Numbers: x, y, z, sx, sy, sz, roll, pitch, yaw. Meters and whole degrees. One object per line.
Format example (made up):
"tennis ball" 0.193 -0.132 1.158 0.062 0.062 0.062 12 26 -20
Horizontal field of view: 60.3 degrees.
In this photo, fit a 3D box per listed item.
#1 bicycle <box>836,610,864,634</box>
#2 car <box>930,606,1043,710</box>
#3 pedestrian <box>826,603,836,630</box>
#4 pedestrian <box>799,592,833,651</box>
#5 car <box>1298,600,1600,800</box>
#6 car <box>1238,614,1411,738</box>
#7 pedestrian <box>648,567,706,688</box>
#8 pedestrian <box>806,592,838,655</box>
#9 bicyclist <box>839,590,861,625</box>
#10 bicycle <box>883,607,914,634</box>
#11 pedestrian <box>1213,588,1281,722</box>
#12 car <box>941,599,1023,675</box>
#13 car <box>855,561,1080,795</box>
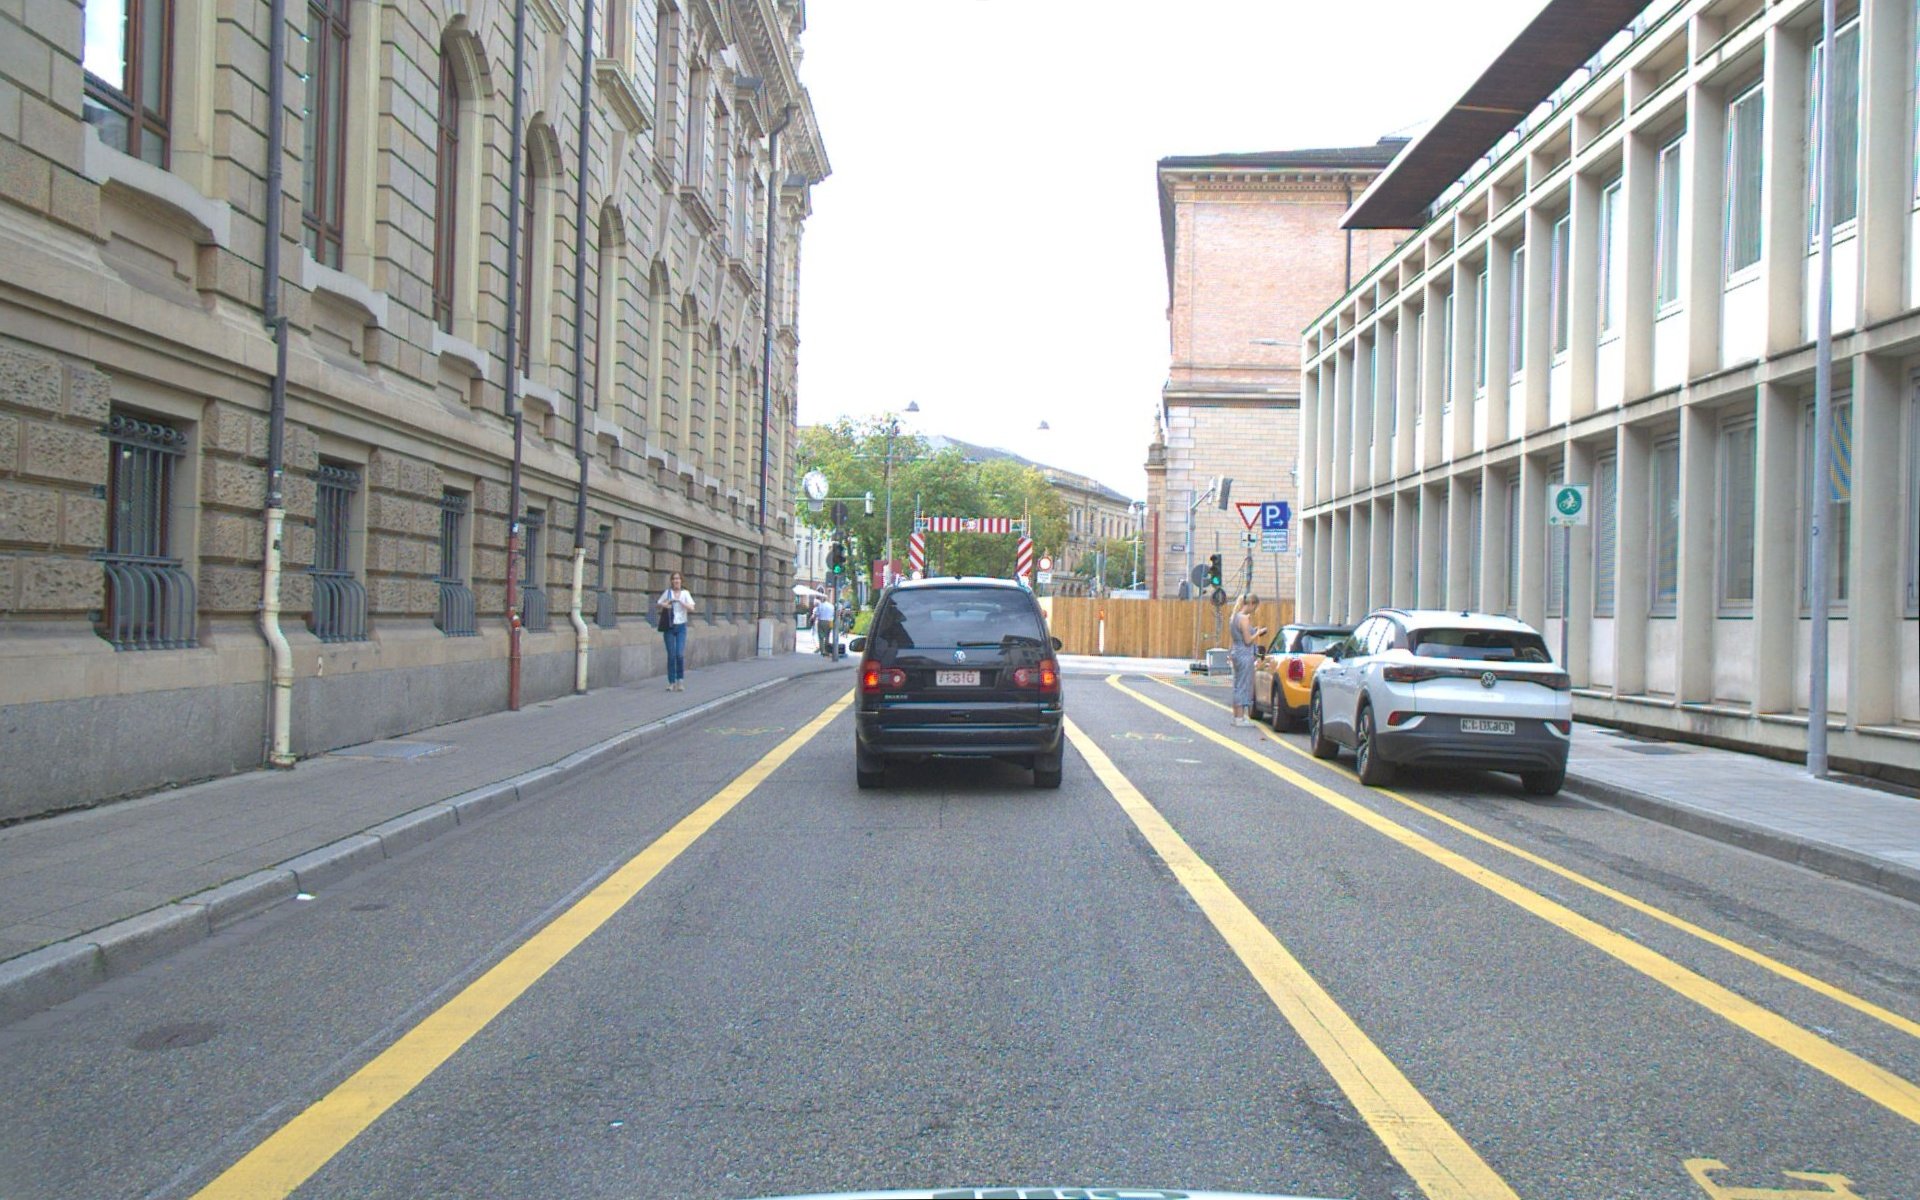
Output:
"bicycle" -4.789 0.940 71.891 0.724 1.026 2.057 1 -1 -19
"car" 0.466 0.879 26.608 1.643 1.495 4.104 2 -1 2
"pedestrian" -9.725 1.236 124.392 0.576 2.049 0.683 1 -1 -16
"pedestrian" -4.614 0.684 52.850 0.780 1.851 1.042 3 -1 -18
"car" 4.696 0.875 16.588 1.821 1.633 4.513 3 0 3
"car" 5.004 0.997 23.169 1.645 1.459 3.887 4 -1 3
"pedestrian" -4.507 0.438 26.361 0.650 1.851 1.048 3 -1 0
"pedestrian" -4.163 0.703 49.878 0.776 1.851 1.048 3 -1 0
"bicyclist" -4.787 0.346 71.922 0.724 1.495 0.804 1 -1 -19
"bicycle" -2.404 0.785 64.536 0.723 1.026 2.060 1 -1 -16
"pedestrian" 3.950 0.748 22.763 0.685 1.794 0.704 0 -1 32
"car" 0.471 0.823 37.511 1.737 1.613 3.999 1 -1 0
"car" 0.139 0.632 14.925 1.752 1.821 4.104 0 -1 2
